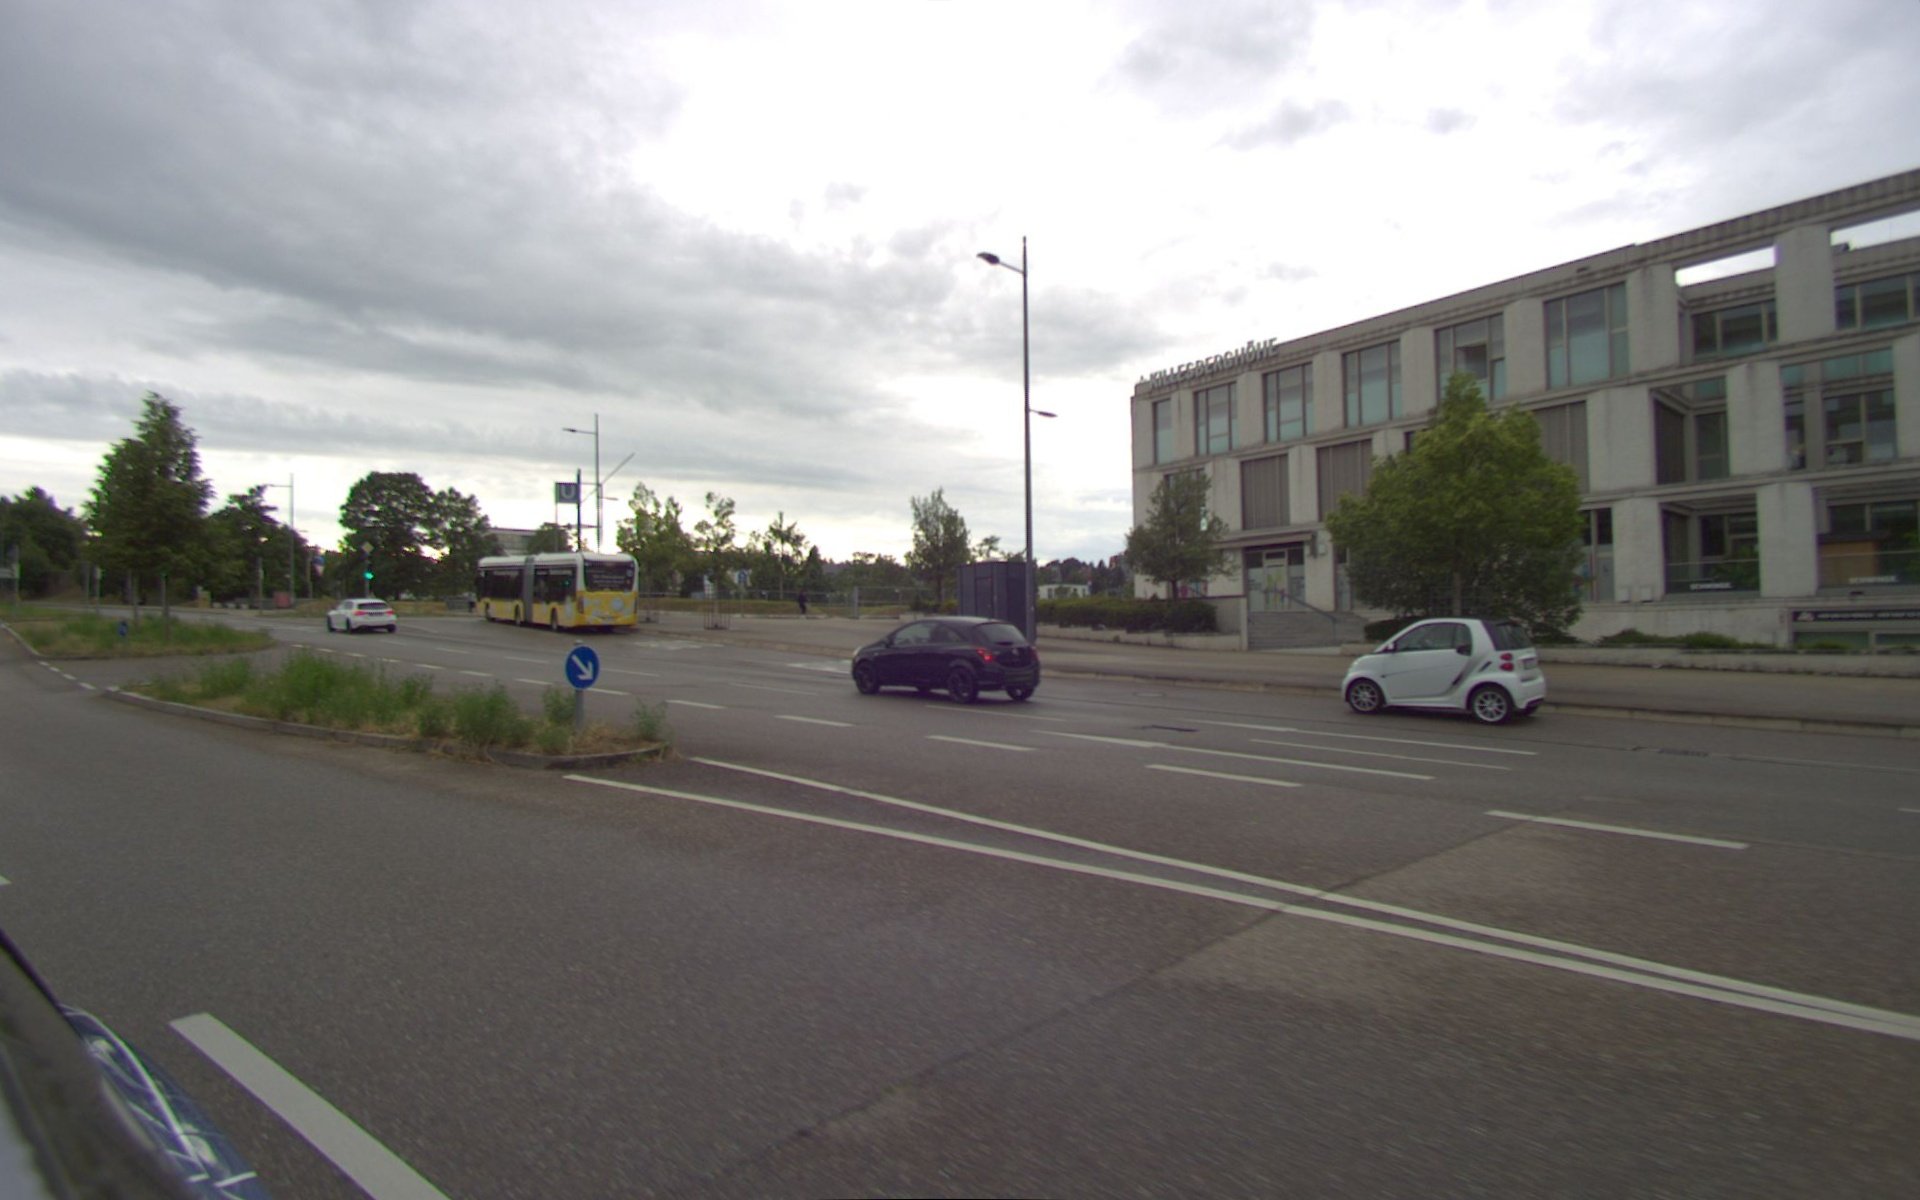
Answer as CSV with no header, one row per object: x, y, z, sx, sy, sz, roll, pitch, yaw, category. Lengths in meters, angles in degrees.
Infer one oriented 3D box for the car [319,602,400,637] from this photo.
-25.919,0.813,43.636,1.971,1.429,4.515,0,0,-45,car

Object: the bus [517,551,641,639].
-16.931,-0.259,44.541,2.785,3.498,8.249,-1,1,-38,bus

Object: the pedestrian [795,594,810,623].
-8.652,0.470,55.662,0.664,1.541,0.484,-3,-2,40,pedestrian

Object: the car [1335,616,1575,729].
7.611,1.034,15.678,1.595,1.519,2.974,-1,0,-45,car

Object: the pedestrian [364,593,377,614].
-44.649,0.278,76.627,0.812,1.606,0.608,-3,-2,40,pedestrian

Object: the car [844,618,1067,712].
-0.158,1.090,18.209,1.825,1.473,3.869,2,-2,-45,car

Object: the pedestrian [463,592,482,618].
-30.896,0.291,64.123,0.672,1.606,0.812,-3,-2,35,pedestrian

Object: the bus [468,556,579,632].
-22.525,-0.361,51.807,2.785,3.498,9.995,-1,1,-38,bus
